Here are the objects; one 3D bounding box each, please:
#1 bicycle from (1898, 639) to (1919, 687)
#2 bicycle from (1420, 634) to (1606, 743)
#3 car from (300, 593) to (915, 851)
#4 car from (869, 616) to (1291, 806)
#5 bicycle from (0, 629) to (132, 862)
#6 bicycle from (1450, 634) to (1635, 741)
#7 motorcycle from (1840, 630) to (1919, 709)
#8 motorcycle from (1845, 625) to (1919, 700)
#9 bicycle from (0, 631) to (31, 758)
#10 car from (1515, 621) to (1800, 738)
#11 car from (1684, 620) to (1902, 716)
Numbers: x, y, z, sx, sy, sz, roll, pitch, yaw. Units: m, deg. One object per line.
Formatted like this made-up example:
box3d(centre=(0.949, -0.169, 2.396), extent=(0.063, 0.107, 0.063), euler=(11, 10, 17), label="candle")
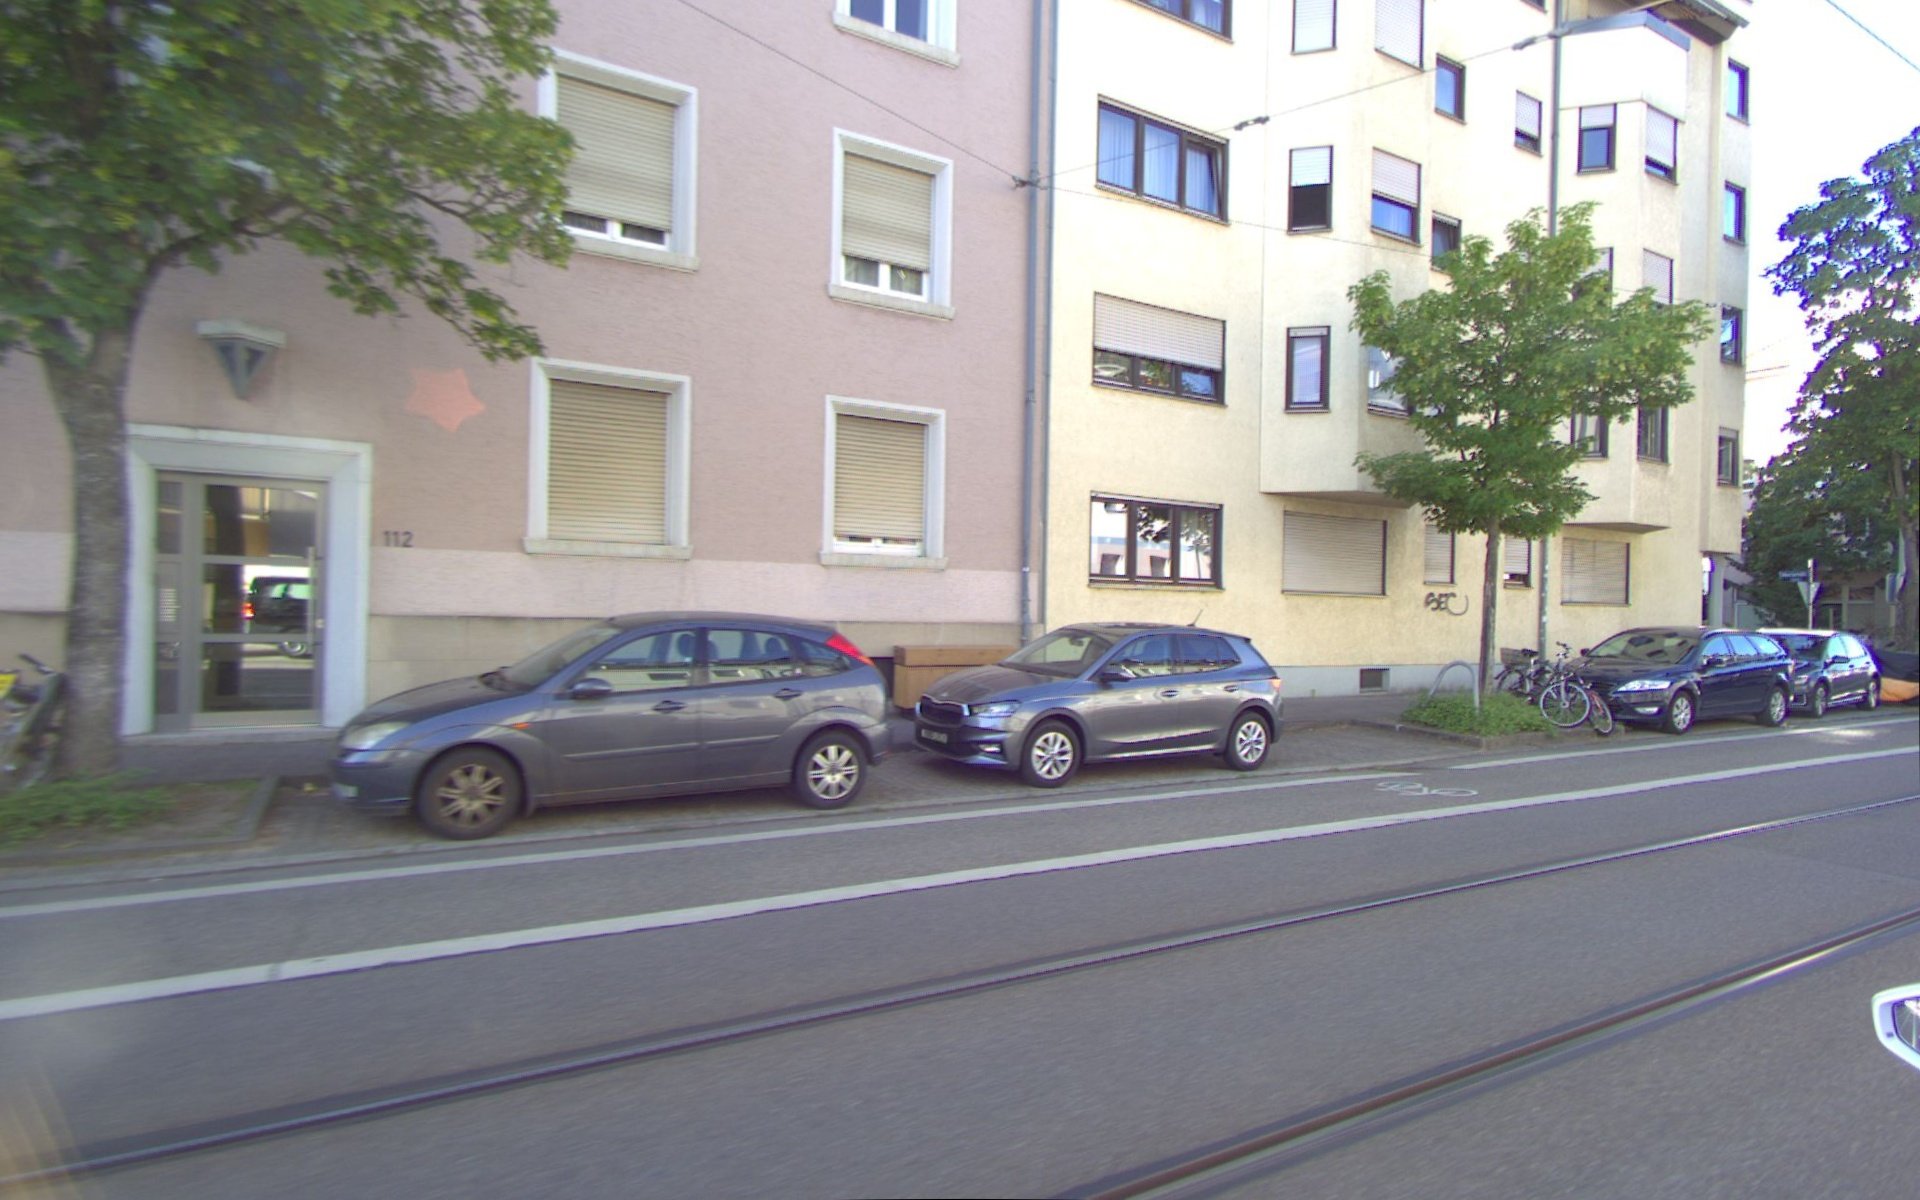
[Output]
box3d(centre=(22.839, 1.481, 23.023), extent=(0.588, 1.099, 1.870), euler=(1, 0, -27), label="bicycle")
box3d(centre=(7.785, 1.195, 14.272), extent=(0.691, 1.352, 2.282), euler=(1, 0, -29), label="bicycle")
box3d(centre=(-2.604, 0.781, 7.861), extent=(4.131, 1.493, 1.757), euler=(1, 2, -30), label="car")
box3d(centre=(1.274, 0.995, 10.244), extent=(3.995, 1.493, 1.756), euler=(1, 2, -31), label="car")
box3d(centre=(-5.908, 0.823, 6.333), extent=(0.738, 1.120, 2.100), euler=(1, 2, -31), label="bicycle")
box3d(centre=(8.400, 1.216, 14.622), extent=(0.691, 1.352, 2.282), euler=(1, 0, -29), label="bicycle")
box3d(centre=(18.449, 1.343, 19.466), extent=(0.828, 1.466, 1.955), euler=(1, 0, -36), label="motorcycle")
box3d(centre=(19.358, 1.263, 20.415), extent=(0.714, 1.466, 1.955), euler=(1, 0, -36), label="motorcycle")
box3d(centre=(-8.127, 0.727, 7.633), extent=(1.491, 0.976, 0.480), euler=(1, 0, -35), label="bicycle")
box3d(centre=(10.919, 1.151, 15.650), extent=(4.675, 1.563, 1.757), euler=(1, 0, -29), label="car")
box3d(centre=(15.394, 1.200, 18.532), extent=(4.078, 1.563, 1.728), euler=(1, 0, -29), label="car")
